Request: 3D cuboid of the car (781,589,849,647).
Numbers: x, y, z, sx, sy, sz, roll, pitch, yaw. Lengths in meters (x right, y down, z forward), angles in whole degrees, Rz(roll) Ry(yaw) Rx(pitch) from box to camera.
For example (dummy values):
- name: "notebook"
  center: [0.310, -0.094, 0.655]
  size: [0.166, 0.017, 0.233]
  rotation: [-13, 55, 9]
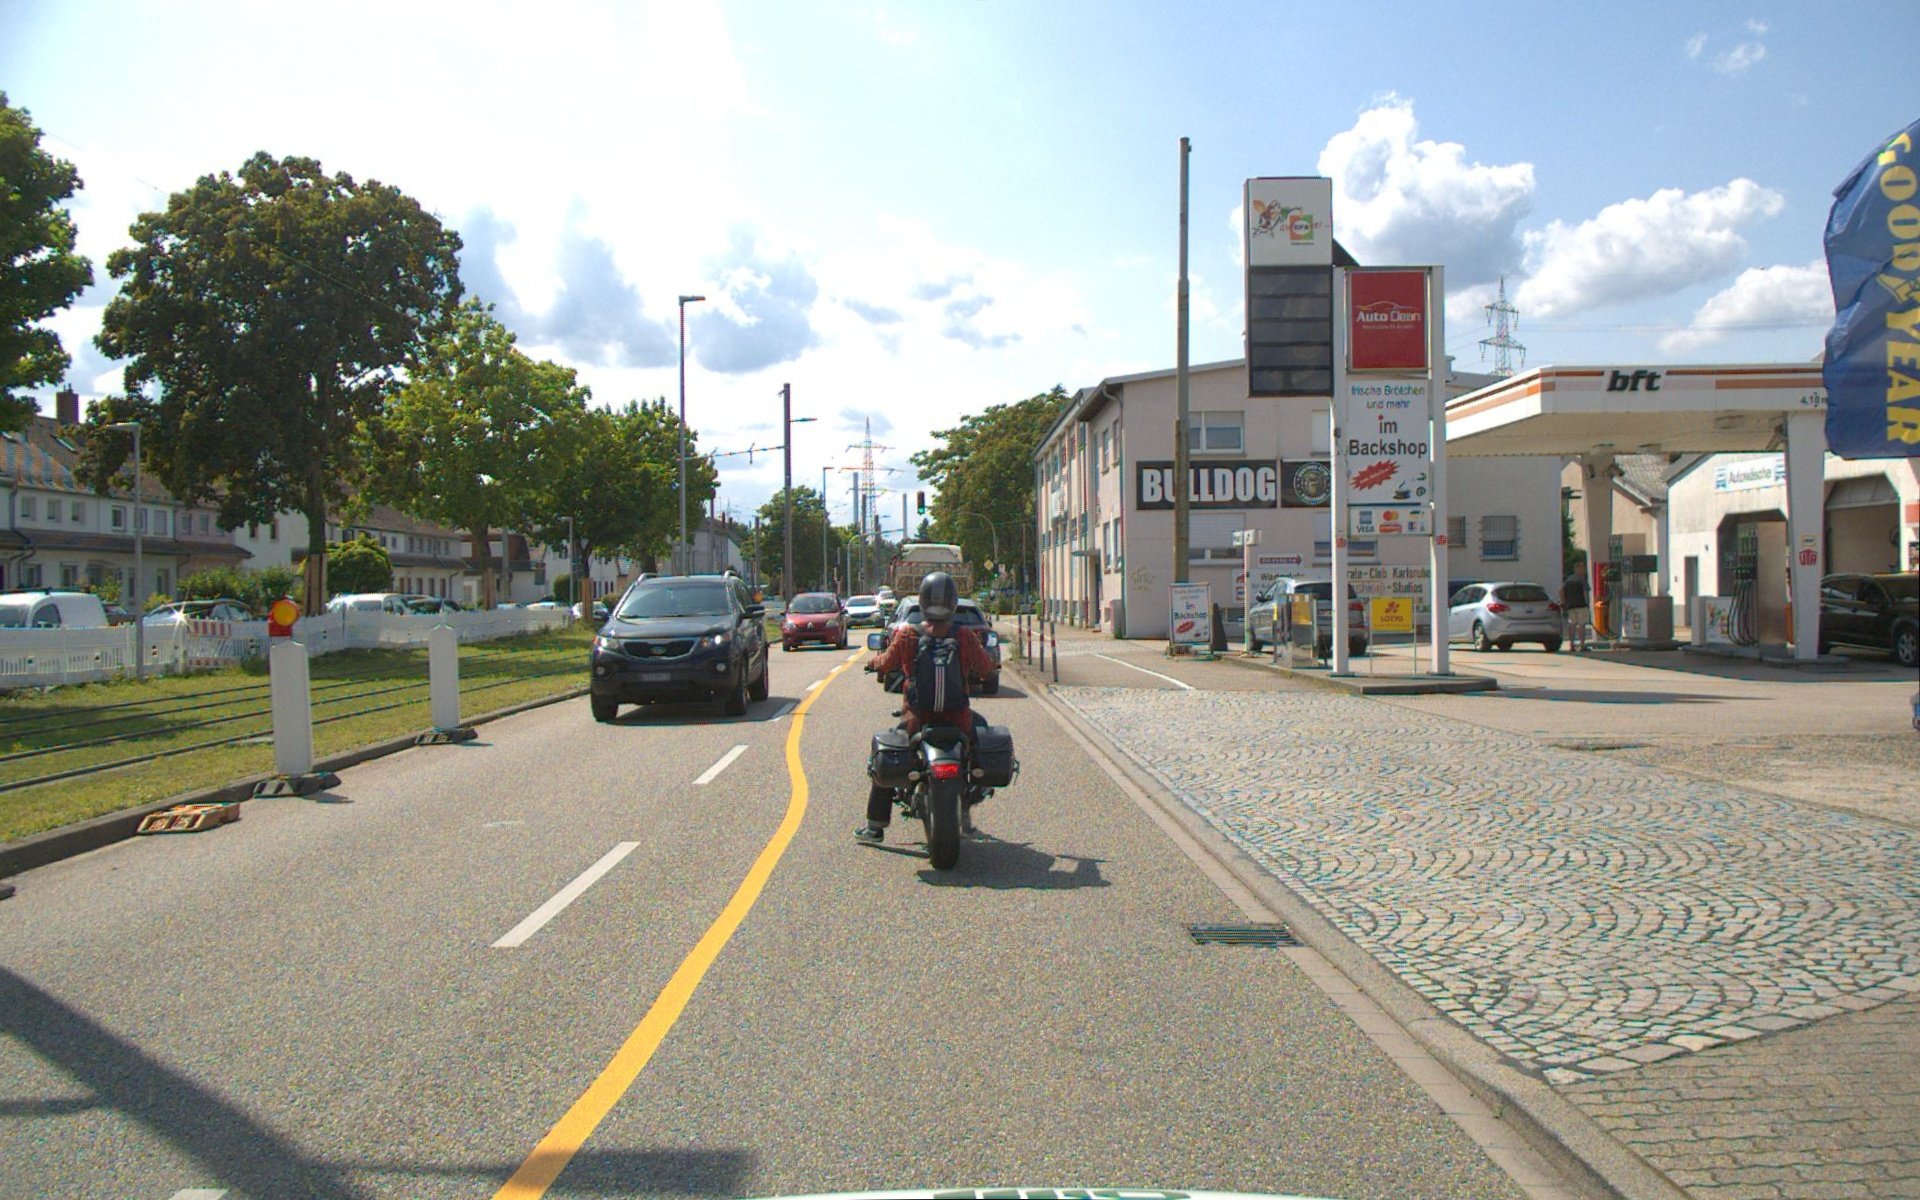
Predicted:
- name: "car"
  center: [-3.931, 0.484, 45.316]
  size: [1.546, 1.495, 3.719]
  rotation: [1, 0, -1]

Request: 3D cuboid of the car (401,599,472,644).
- name: "car"
  center: [-17.036, 0.696, 53.897]
  size: [1.322, 1.401, 3.113]
  rotation: [-2, 0, -1]

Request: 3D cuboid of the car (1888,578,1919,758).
- name: "car"
  center: [9.590, 0.559, 12.718]
  size: [3.967, 1.432, 1.648]
  rotation: [0, 0, 4]

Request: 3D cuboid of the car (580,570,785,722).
- name: "car"
  center: [-3.422, 0.526, 21.181]
  size: [1.759, 1.719, 4.222]
  rotation: [-1, 0, 2]

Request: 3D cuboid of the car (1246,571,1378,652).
- name: "car"
  center: [7.575, 0.232, 36.060]
  size: [1.906, 1.653, 4.616]
  rotation: [0, 0, 0]

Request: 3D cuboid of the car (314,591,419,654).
- name: "car"
  center: [-16.796, 0.630, 47.012]
  size: [1.589, 1.680, 3.898]
  rotation: [-2, 0, -1]

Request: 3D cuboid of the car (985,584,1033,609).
- name: "car"
  center: [4.024, -0.257, 135.864]
  size: [1.773, 1.959, 3.972]
  rotation: [0, -1, 44]

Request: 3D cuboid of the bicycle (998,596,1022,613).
- name: "bicycle"
  center: [3.520, 0.299, 116.846]
  size: [1.672, 1.192, 0.438]
  rotation: [1, -1, 4]

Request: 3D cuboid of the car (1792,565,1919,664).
- name: "car"
  center: [16.525, 0.198, 28.897]
  size: [1.648, 1.546, 4.492]
  rotation: [-1, 2, -1]

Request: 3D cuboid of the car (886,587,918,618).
- name: "car"
  center: [-3.403, 0.174, 97.202]
  size: [1.787, 1.695, 4.461]
  rotation: [-2, 0, -1]

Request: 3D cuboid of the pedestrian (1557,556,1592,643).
- name: "pedestrian"
  center: [12.994, -0.008, 34.977]
  size: [0.487, 1.807, 0.577]
  rotation: [1, -1, -3]

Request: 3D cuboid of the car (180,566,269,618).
- name: "car"
  center: [-30.463, -0.307, 68.659]
  size: [1.953, 2.049, 3.999]
  rotation: [1, 0, -2]

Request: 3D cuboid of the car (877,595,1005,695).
- name: "car"
  center: [-0.383, 0.656, 26.396]
  size: [1.698, 1.428, 4.082]
  rotation: [1, 0, -5]

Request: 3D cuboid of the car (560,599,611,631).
- name: "car"
  center: [-17.052, 0.672, 75.424]
  size: [1.491, 1.378, 3.620]
  rotation: [1, 0, -1]

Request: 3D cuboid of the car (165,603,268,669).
- name: "car"
  center: [-16.324, 0.766, 36.402]
  size: [1.050, 1.371, 2.449]
  rotation: [-2, 0, 3]

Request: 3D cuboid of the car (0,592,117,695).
- name: "car"
  center: [-16.350, 0.738, 28.490]
  size: [1.619, 1.654, 4.000]
  rotation: [-2, 0, -1]

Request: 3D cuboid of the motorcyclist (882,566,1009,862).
- name: "motorcyclist"
  center: [-0.084, 0.635, 9.545]
  size: [0.684, 1.632, 0.692]
  rotation: [1, -1, -1]

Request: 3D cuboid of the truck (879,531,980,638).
- name: "truck"
  center: [-0.894, -0.453, 54.519]
  size: [2.906, 3.229, 7.765]
  rotation: [1, 0, 2]

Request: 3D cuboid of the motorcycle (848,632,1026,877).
- name: "motorcycle"
  center: [-0.137, 0.845, 10.003]
  size: [0.923, 1.221, 2.472]
  rotation: [1, 0, -1]

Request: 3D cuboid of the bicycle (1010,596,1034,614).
- name: "bicycle"
  center: [4.367, 0.356, 116.216]
  size: [1.672, 1.192, 0.438]
  rotation: [1, -1, 4]

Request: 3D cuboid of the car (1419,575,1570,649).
- name: "car"
  center: [11.779, 0.274, 36.757]
  size: [1.658, 1.496, 4.420]
  rotation: [-2, 0, -4]

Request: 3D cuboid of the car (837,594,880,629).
- name: "car"
  center: [-4.608, 0.515, 75.481]
  size: [1.784, 1.470, 4.482]
  rotation: [-2, 0, -2]
